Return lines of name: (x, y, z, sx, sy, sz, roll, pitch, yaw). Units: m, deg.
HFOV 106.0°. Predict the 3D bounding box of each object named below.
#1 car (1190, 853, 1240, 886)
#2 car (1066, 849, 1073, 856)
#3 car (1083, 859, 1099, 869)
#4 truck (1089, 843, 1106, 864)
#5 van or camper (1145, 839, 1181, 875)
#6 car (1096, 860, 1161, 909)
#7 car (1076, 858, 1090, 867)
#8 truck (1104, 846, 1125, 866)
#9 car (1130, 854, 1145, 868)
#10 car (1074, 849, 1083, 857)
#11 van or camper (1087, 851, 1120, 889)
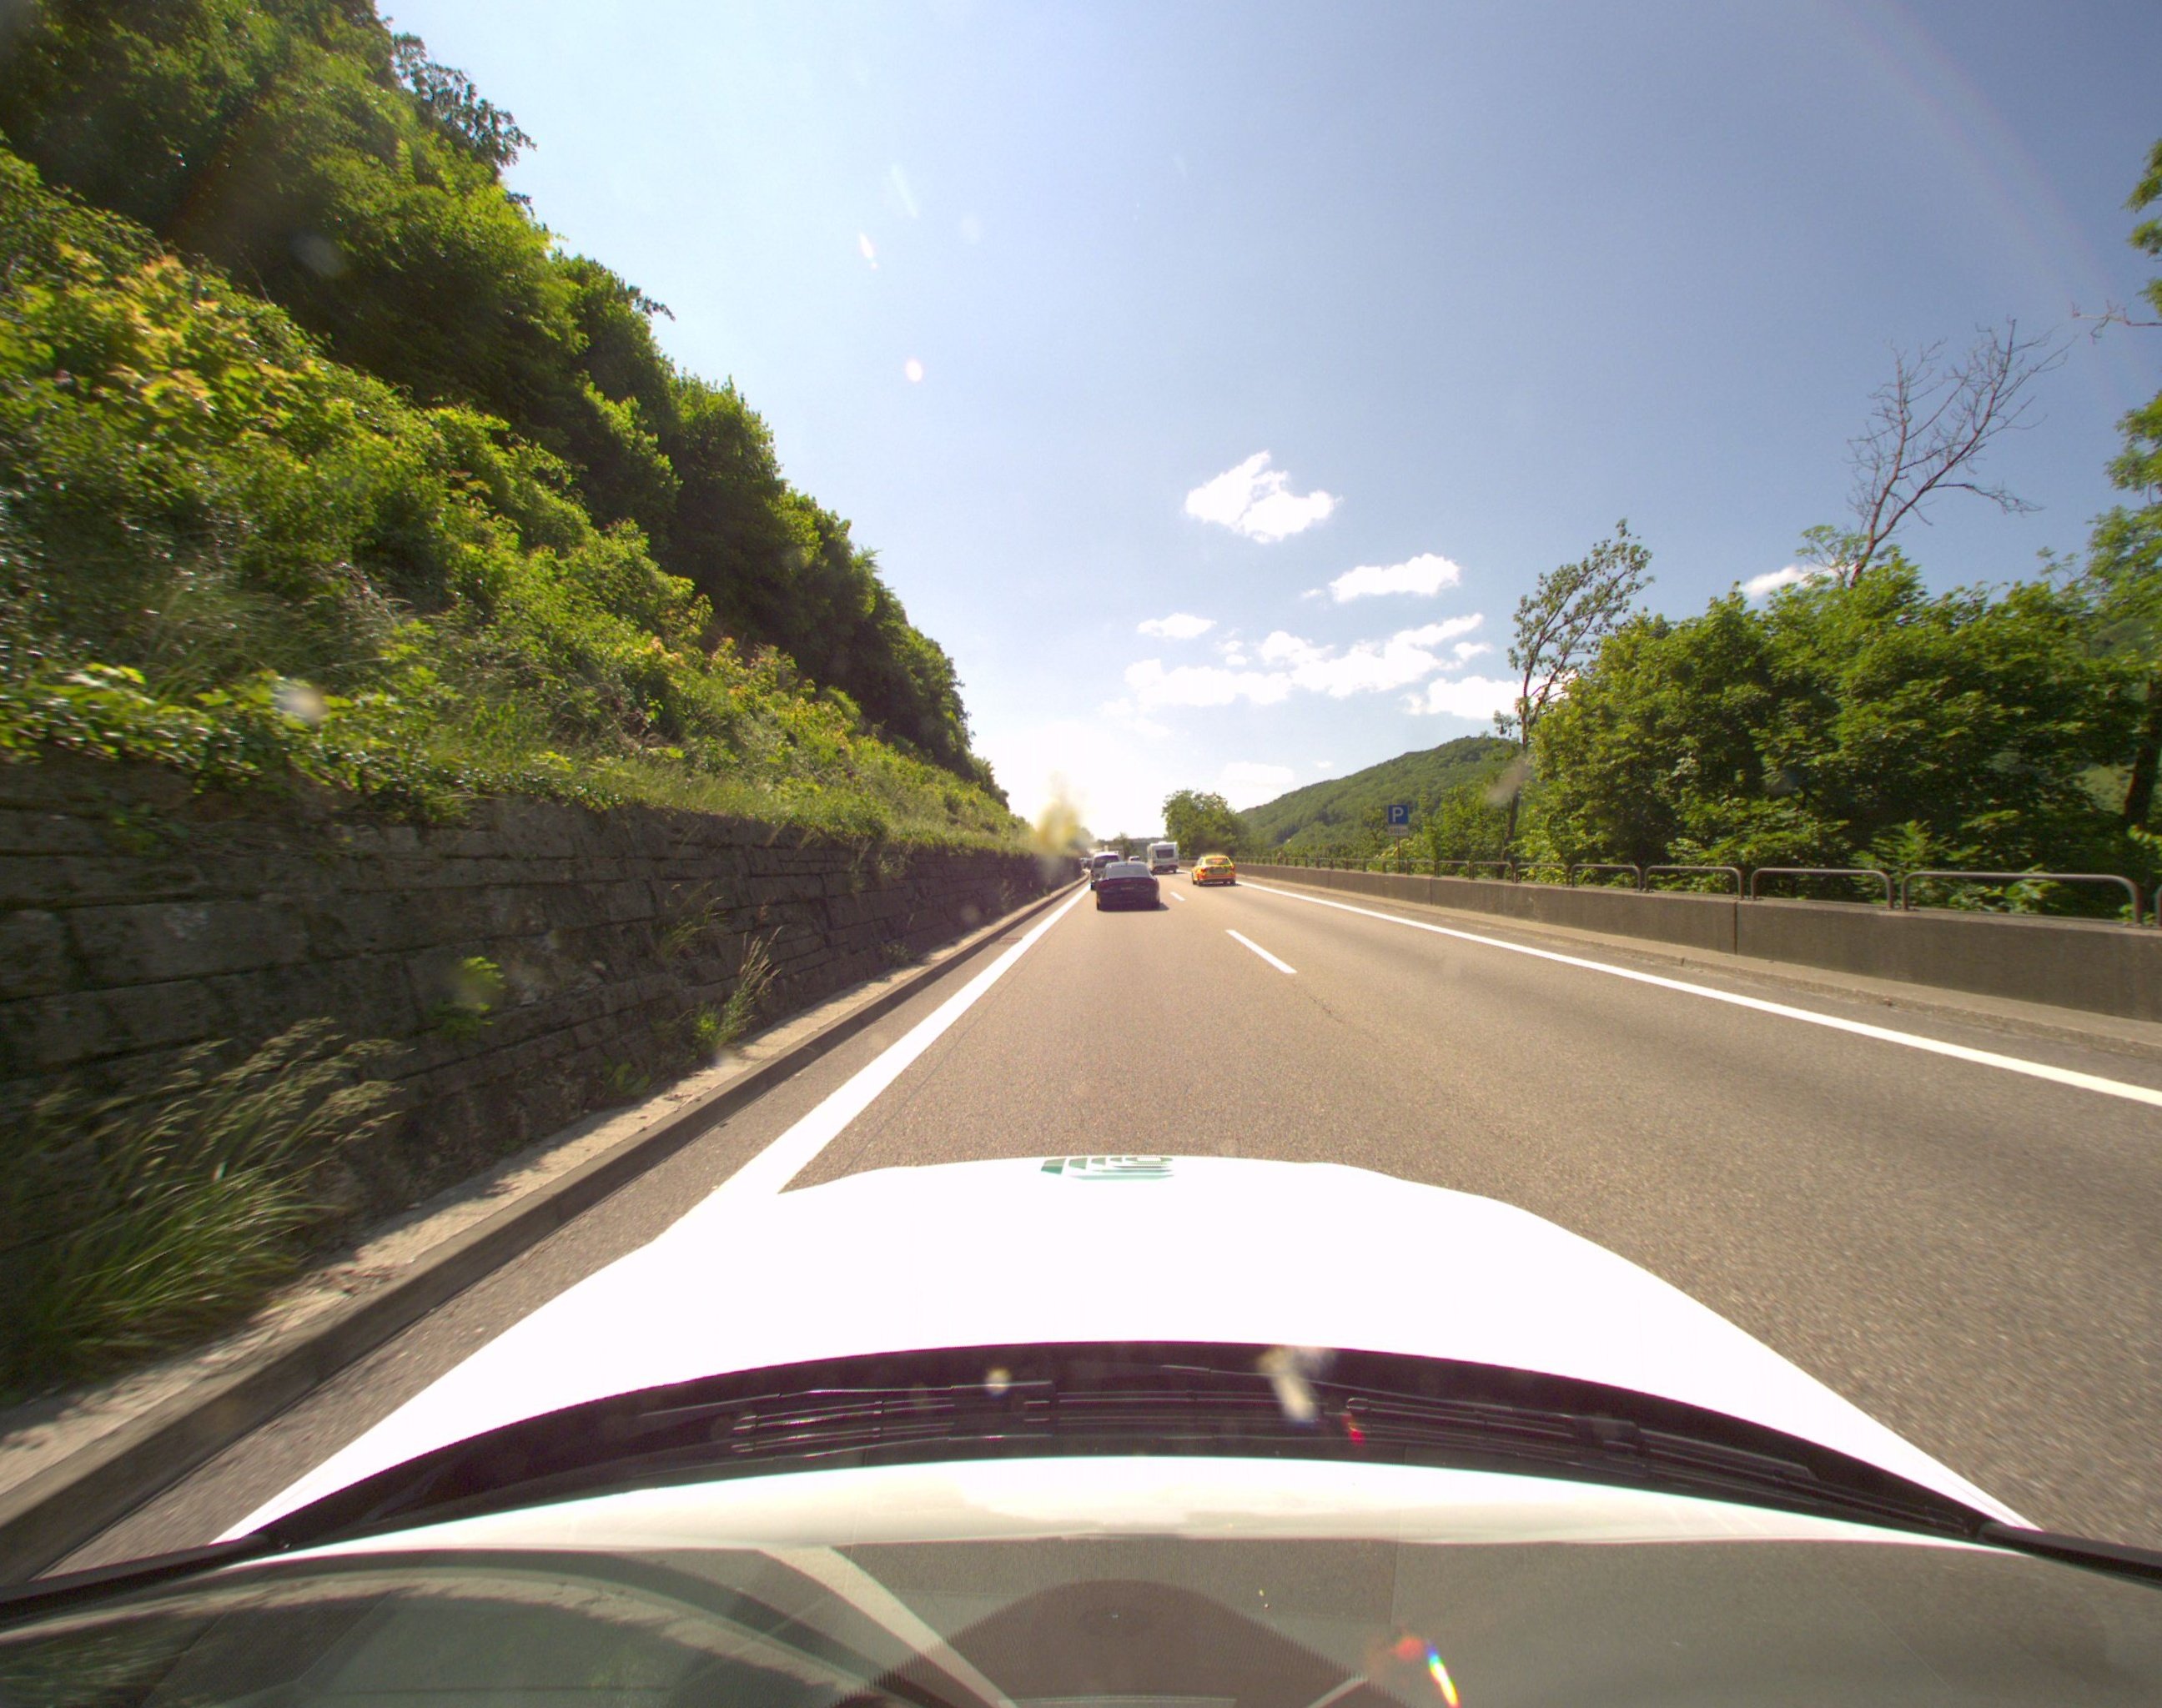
car: (6.547, 0.774, 40.201, 1.856, 1.488, 3.999, 1, -1, 0)
car: (-3.442, -0.383, 243.070, 1.991, 2.014, 3.991, 0, 0, -7)
car: (1.593, 1.503, 127.468, 1.991, 1.464, 3.991, 0, 0, -6)
truck: (3.237, -0.090, 164.433, 2.728, 4.096, 7.468, -1, 0, -4)
van or camper: (6.954, 0.300, 69.849, 2.448, 2.918, 6.124, 1, -1, 0)
car: (1.423, 0.915, 25.211, 1.830, 1.349, 4.001, 1, -1, 2)
car: (0.305, 1.464, 141.713, 1.991, 1.464, 3.991, 0, 0, -6)
truck: (5.471, 0.272, 134.156, 2.834, 3.131, 7.473, -1, 0, -2)
car: (7.169, 0.894, 103.519, 1.834, 1.717, 4.002, -1, 0, 2)
car: (-0.558, -0.344, 216.288, 1.991, 2.014, 3.991, 0, 0, -6)
van or camper: (1.101, 0.817, 41.523, 1.388, 1.816, 3.996, 1, -1, -2)
